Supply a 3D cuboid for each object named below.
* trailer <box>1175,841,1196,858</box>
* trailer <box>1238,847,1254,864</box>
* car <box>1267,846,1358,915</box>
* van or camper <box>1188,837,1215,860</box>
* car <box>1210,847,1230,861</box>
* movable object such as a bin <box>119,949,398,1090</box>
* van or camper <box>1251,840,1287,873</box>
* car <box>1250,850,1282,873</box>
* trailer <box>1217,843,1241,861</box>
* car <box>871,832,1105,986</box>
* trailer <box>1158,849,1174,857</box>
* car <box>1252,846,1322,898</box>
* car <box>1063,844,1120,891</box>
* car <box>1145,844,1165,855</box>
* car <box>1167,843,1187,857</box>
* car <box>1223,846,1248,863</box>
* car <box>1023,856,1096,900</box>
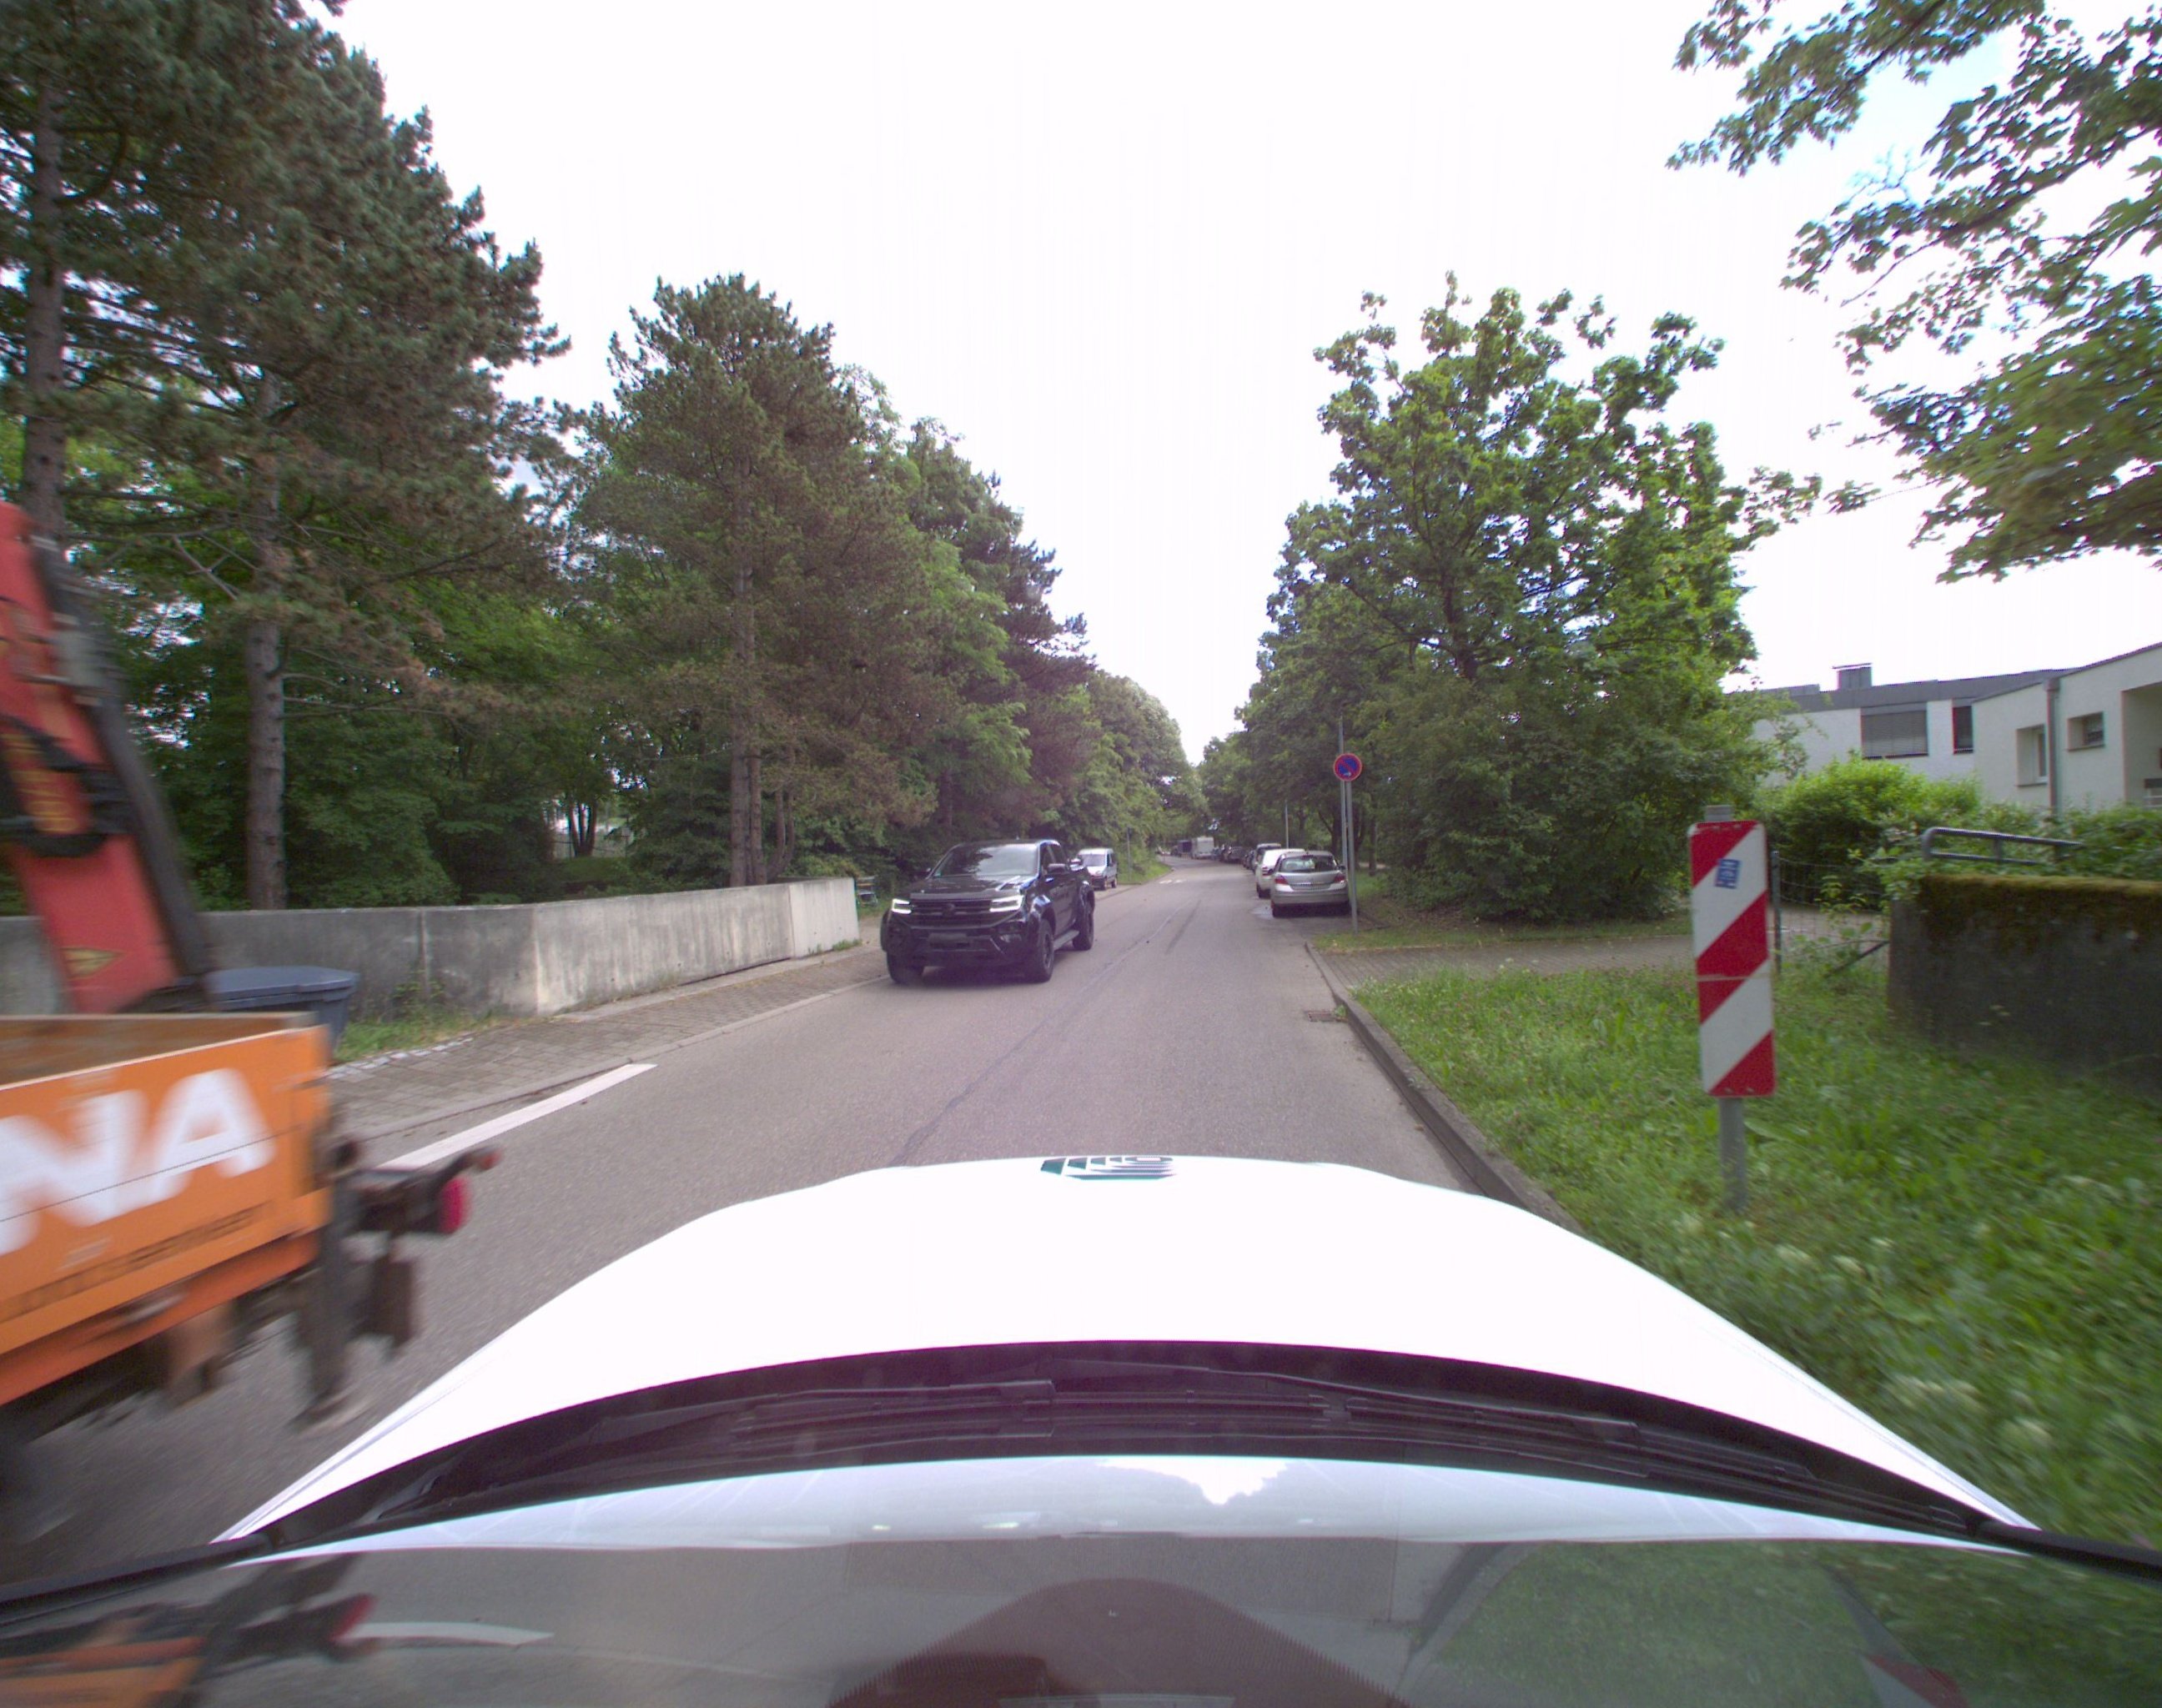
[{"bbox_3d":[15.519,-0.711,121.072,1.993,2.398,3.987,-3,0,-9],"label":"trailer"},{"bbox_3d":[15.744,0.133,77.732,1.272,1.585,2.465,-2,0,6],"label":"trailer"},{"bbox_3d":[5.488,0.575,19.712,1.781,1.411,4.073,-3,0,12],"label":"car"},{"bbox_3d":[16.249,-0.770,110.202,2.475,2.876,6.885,-2,0,-1],"label":"van or camper"},{"bbox_3d":[16.969,-0.040,99.786,1.794,1.562,3.836,-3,1,1],"label":"car"},{"bbox_3d":[-5.911,1.149,5.977,1.150,0.760,1.040,1,-1,-27],"label":"movable object such as a bin"},{"bbox_3d":[11.071,0.174,48.192,1.791,1.838,4.332,-2,-1,10],"label":"van or camper"},{"bbox_3d":[12.206,0.456,53.843,1.802,1.437,4.254,-1,0,9],"label":"car"},{"bbox_3d":[16.422,-0.218,90.414,1.971,1.811,5.153,-3,1,3],"label":"trailer"},{"bbox_3d":[-1.025,0.650,12.092,1.981,1.735,5.351,-2,0,9],"label":"car"},{"bbox_3d":[13.663,-0.210,130.489,1.650,1.086,3.991,-5,1,-7],"label":"trailer"},{"bbox_3d":[6.729,0.529,27.075,1.874,1.507,5.191,-3,0,10],"label":"car"},{"bbox_3d":[0.540,0.551,36.011,1.709,1.921,4.119,0,1,12],"label":"car"},{"bbox_3d":[12.722,-0.800,139.751,2.038,1.803,4.063,-3,1,-15],"label":"car"},{"bbox_3d":[14.885,-0.653,126.531,1.994,2.025,3.987,-5,2,-10],"label":"car"},{"bbox_3d":[15.884,0.081,84.082,1.785,1.670,4.503,-3,-1,2],"label":"car"},{"bbox_3d":[-0.693,0.823,29.708,1.794,1.403,4.384,-1,0,10],"label":"car"}]
